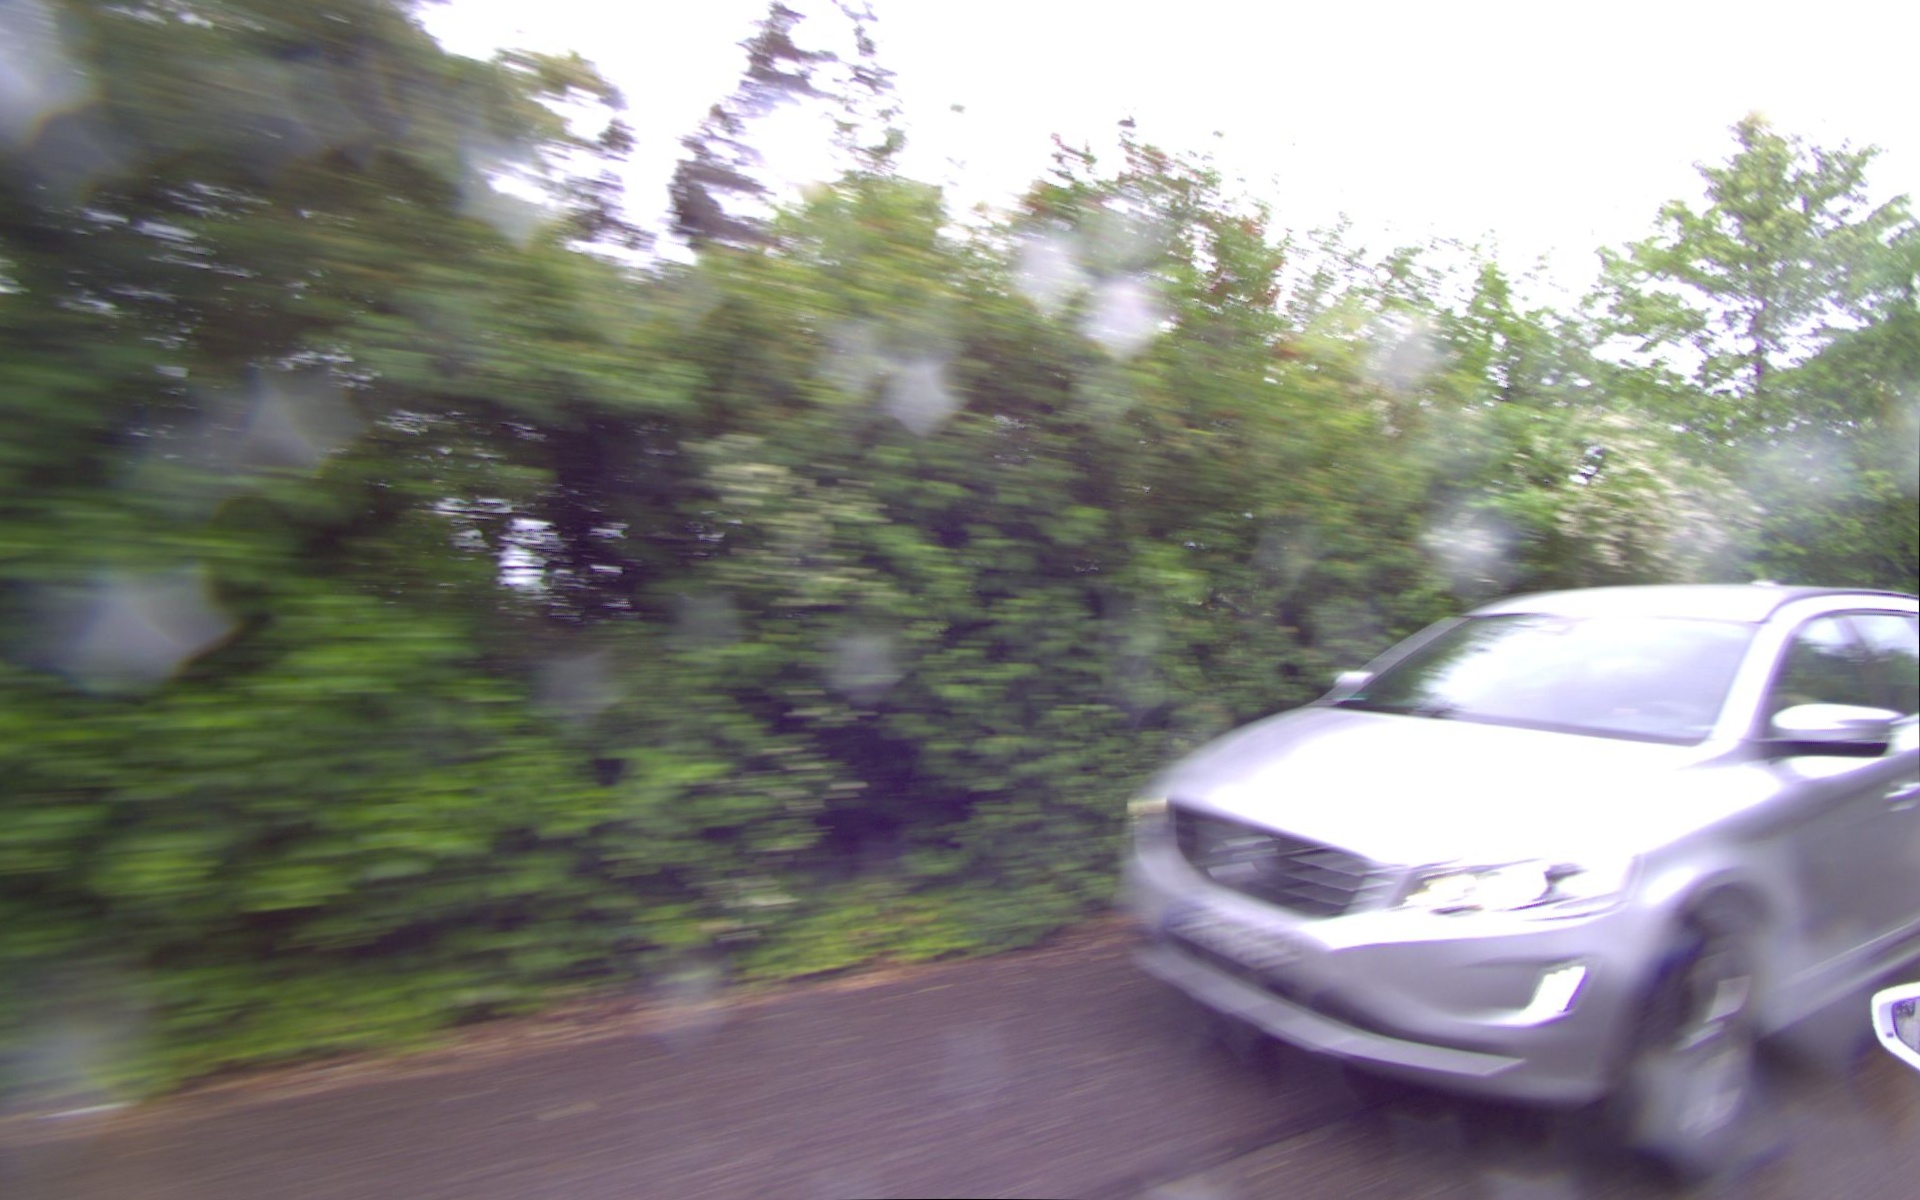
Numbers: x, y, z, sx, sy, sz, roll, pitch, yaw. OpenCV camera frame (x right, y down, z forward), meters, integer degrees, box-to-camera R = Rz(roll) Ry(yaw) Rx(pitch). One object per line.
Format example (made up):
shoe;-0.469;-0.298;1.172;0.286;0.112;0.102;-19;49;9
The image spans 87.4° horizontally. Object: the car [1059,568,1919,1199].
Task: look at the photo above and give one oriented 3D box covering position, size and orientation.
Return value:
car;2.762;0.786;4.140;4.410;1.642;1.913;1;0;-31
